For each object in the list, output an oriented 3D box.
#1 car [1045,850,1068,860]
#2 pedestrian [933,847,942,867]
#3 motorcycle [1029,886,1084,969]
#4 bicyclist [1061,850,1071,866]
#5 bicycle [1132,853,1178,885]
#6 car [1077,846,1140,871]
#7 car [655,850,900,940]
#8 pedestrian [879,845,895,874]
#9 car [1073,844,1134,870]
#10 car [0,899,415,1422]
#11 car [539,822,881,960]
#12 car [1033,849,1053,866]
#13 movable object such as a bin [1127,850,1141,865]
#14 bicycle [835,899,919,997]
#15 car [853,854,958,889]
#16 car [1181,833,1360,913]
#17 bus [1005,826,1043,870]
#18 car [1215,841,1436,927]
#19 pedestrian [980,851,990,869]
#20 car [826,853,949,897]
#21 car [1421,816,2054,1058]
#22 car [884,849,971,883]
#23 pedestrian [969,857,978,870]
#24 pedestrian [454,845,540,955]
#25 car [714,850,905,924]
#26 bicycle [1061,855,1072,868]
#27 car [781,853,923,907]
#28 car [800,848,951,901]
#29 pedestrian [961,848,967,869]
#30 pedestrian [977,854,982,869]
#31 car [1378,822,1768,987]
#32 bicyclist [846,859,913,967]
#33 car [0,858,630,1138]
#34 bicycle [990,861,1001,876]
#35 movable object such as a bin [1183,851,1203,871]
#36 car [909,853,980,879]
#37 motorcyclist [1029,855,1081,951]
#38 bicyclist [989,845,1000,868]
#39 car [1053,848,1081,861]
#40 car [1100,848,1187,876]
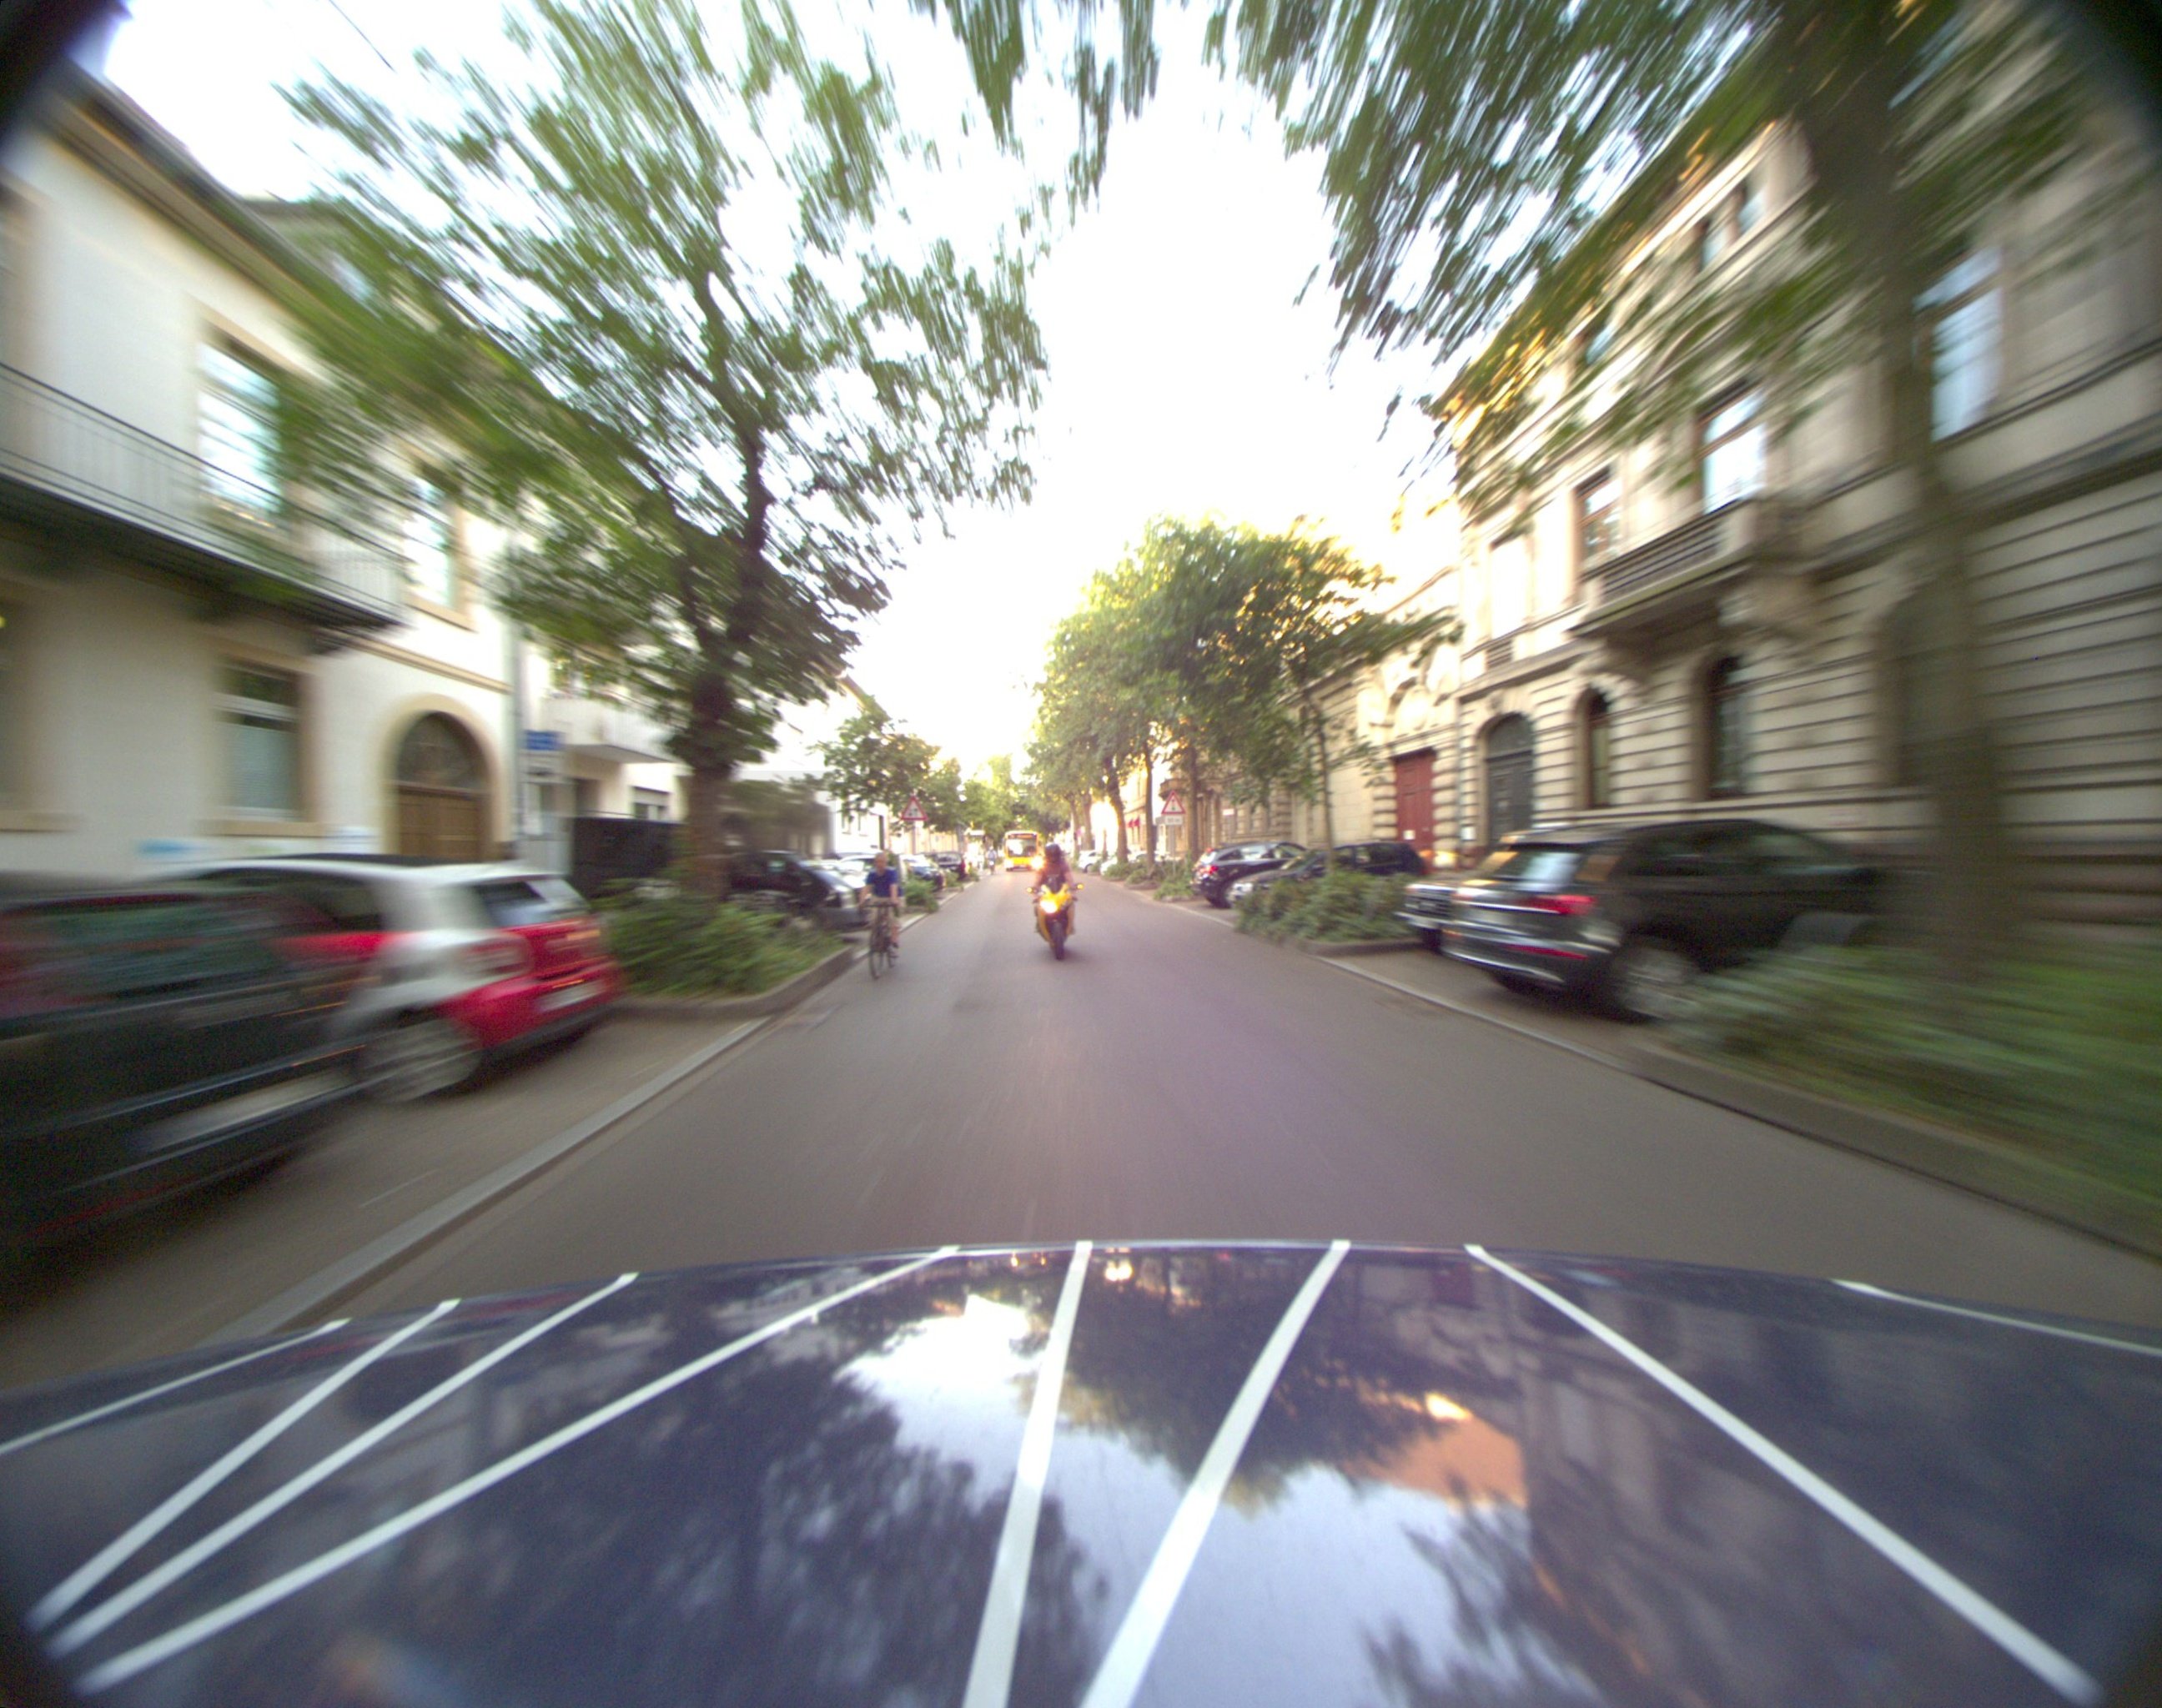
[{"bbox_3d":[-4.480,0.145,139.215,4.001,1.699,1.843,-1,0,-12],"label":"car"},{"bbox_3d":[-13.320,0.288,70.603,0.699,1.844,1.049,0,0,-6],"label":"pedestrian"},{"bbox_3d":[-0.400,1.074,11.668,0.738,1.053,1.963,-1,0,-3],"label":"motorcycle"},{"bbox_3d":[-1.171,0.329,59.370,0.674,1.256,0.647,-1,1,-6],"label":"bicyclist"},{"bbox_3d":[2.988,0.614,30.815,1.775,1.225,0.500,-2,2,1],"label":"bicycle"},{"bbox_3d":[1.867,0.299,52.160,4.181,1.548,1.826,-2,1,-2],"label":"car"},{"bbox_3d":[-5.959,0.785,15.400,4.168,1.569,1.968,2,1,-6],"label":"car"},{"bbox_3d":[-12.179,0.320,47.722,0.699,1.785,1.065,-1,1,-4],"label":"pedestrian"},{"bbox_3d":[1.749,0.210,59.683,4.438,1.712,1.889,-3,1,-6],"label":"car"},{"bbox_3d":[-5.307,0.934,2.713,3.999,1.429,1.925,2,1,-6],"label":"car"},{"bbox_3d":[-5.971,0.590,12.790,4.703,1.999,2.036,2,1,-5],"label":"car"},{"bbox_3d":[-3.929,0.353,77.667,1.947,1.561,4.357,-1,1,-4],"label":"car"},{"bbox_3d":[3.933,0.268,56.301,0.777,1.055,1.316,-2,1,-5],"label":"movable object such as a bin"},{"bbox_3d":[-2.666,1.193,10.143,0.674,1.024,1.976,-3,0,-4],"label":"bicycle"},{"bbox_3d":[-7.730,0.742,33.743,4.328,1.487,1.793,0,1,-5],"label":"car"},{"bbox_3d":[4.774,0.454,19.468,3.976,1.587,1.780,-5,1,-4],"label":"car"},{"bbox_3d":[-4.773,-0.454,62.970,2.669,3.176,11.892,-3,1,-5],"label":"bus"},{"bbox_3d":[5.012,0.596,15.919,3.976,1.379,1.764,-5,0,-3],"label":"car"},{"bbox_3d":[-8.079,0.499,63.955,0.600,1.502,0.719,0,1,-33],"label":"pedestrian"},{"bbox_3d":[-7.060,0.757,28.039,4.085,1.421,1.817,2,1,-2],"label":"car"},{"bbox_3d":[5.656,0.635,6.927,4.213,1.662,1.907,-3,0,-4],"label":"car"},{"bbox_3d":[-7.865,0.611,39.290,4.121,1.608,1.960,-1,1,-4],"label":"car"},{"bbox_3d":[-9.184,0.815,64.920,0.491,1.138,0.547,1,1,33],"label":"pedestrian"},{"bbox_3d":[-8.839,0.676,11.528,0.671,1.589,0.736,-2,1,-5],"label":"pedestrian"},{"bbox_3d":[-6.456,0.767,18.438,3.977,1.569,1.850,2,1,-6],"label":"car"},{"bbox_3d":[-1.162,0.566,59.403,0.674,0.988,1.757,-1,0,-6],"label":"bicycle"},{"bbox_3d":[-6.798,0.755,22.874,3.804,1.415,1.696,2,1,-6],"label":"car"},{"bbox_3d":[-6.834,0.672,25.658,4.604,1.569,1.943,2,1,-6],"label":"car"},{"bbox_3d":[-9.921,0.409,64.390,0.545,1.764,0.575,1,1,-9],"label":"pedestrian"},{"bbox_3d":[-8.641,0.658,64.723,0.451,1.254,0.489,1,1,-10],"label":"pedestrian"},{"bbox_3d":[5.989,0.564,9.517,3.812,1.662,1.713,-3,0,-5],"label":"car"},{"bbox_3d":[-2.697,0.764,10.254,0.674,1.355,0.776,-3,1,-4],"label":"bicyclist"},{"bbox_3d":[-5.581,0.888,5.381,3.691,1.569,1.713,2,1,-4],"label":"car"},{"bbox_3d":[-5.904,1.017,52.439,0.637,0.977,1.980,-4,0,-6],"label":"bicycle"},{"bbox_3d":[6.549,0.404,44.467,0.803,1.055,1.316,-4,1,-5],"label":"movable object such as a bin"},{"bbox_3d":[-8.160,0.698,45.724,3.998,1.429,1.793,-1,1,-4],"label":"car"},{"bbox_3d":[-0.399,0.724,11.596,0.738,1.404,0.726,-1,1,-3],"label":"motorcyclist"},{"bbox_3d":[-5.950,0.163,52.419,0.637,1.552,0.818,-4,0,-6],"label":"bicyclist"},{"bbox_3d":[-2.237,0.115,118.312,4.001,1.940,1.998,-1,1,-12],"label":"car"},{"bbox_3d":[3.400,0.435,41.947,4.526,1.382,1.915,-2,1,-3],"label":"car"}]
